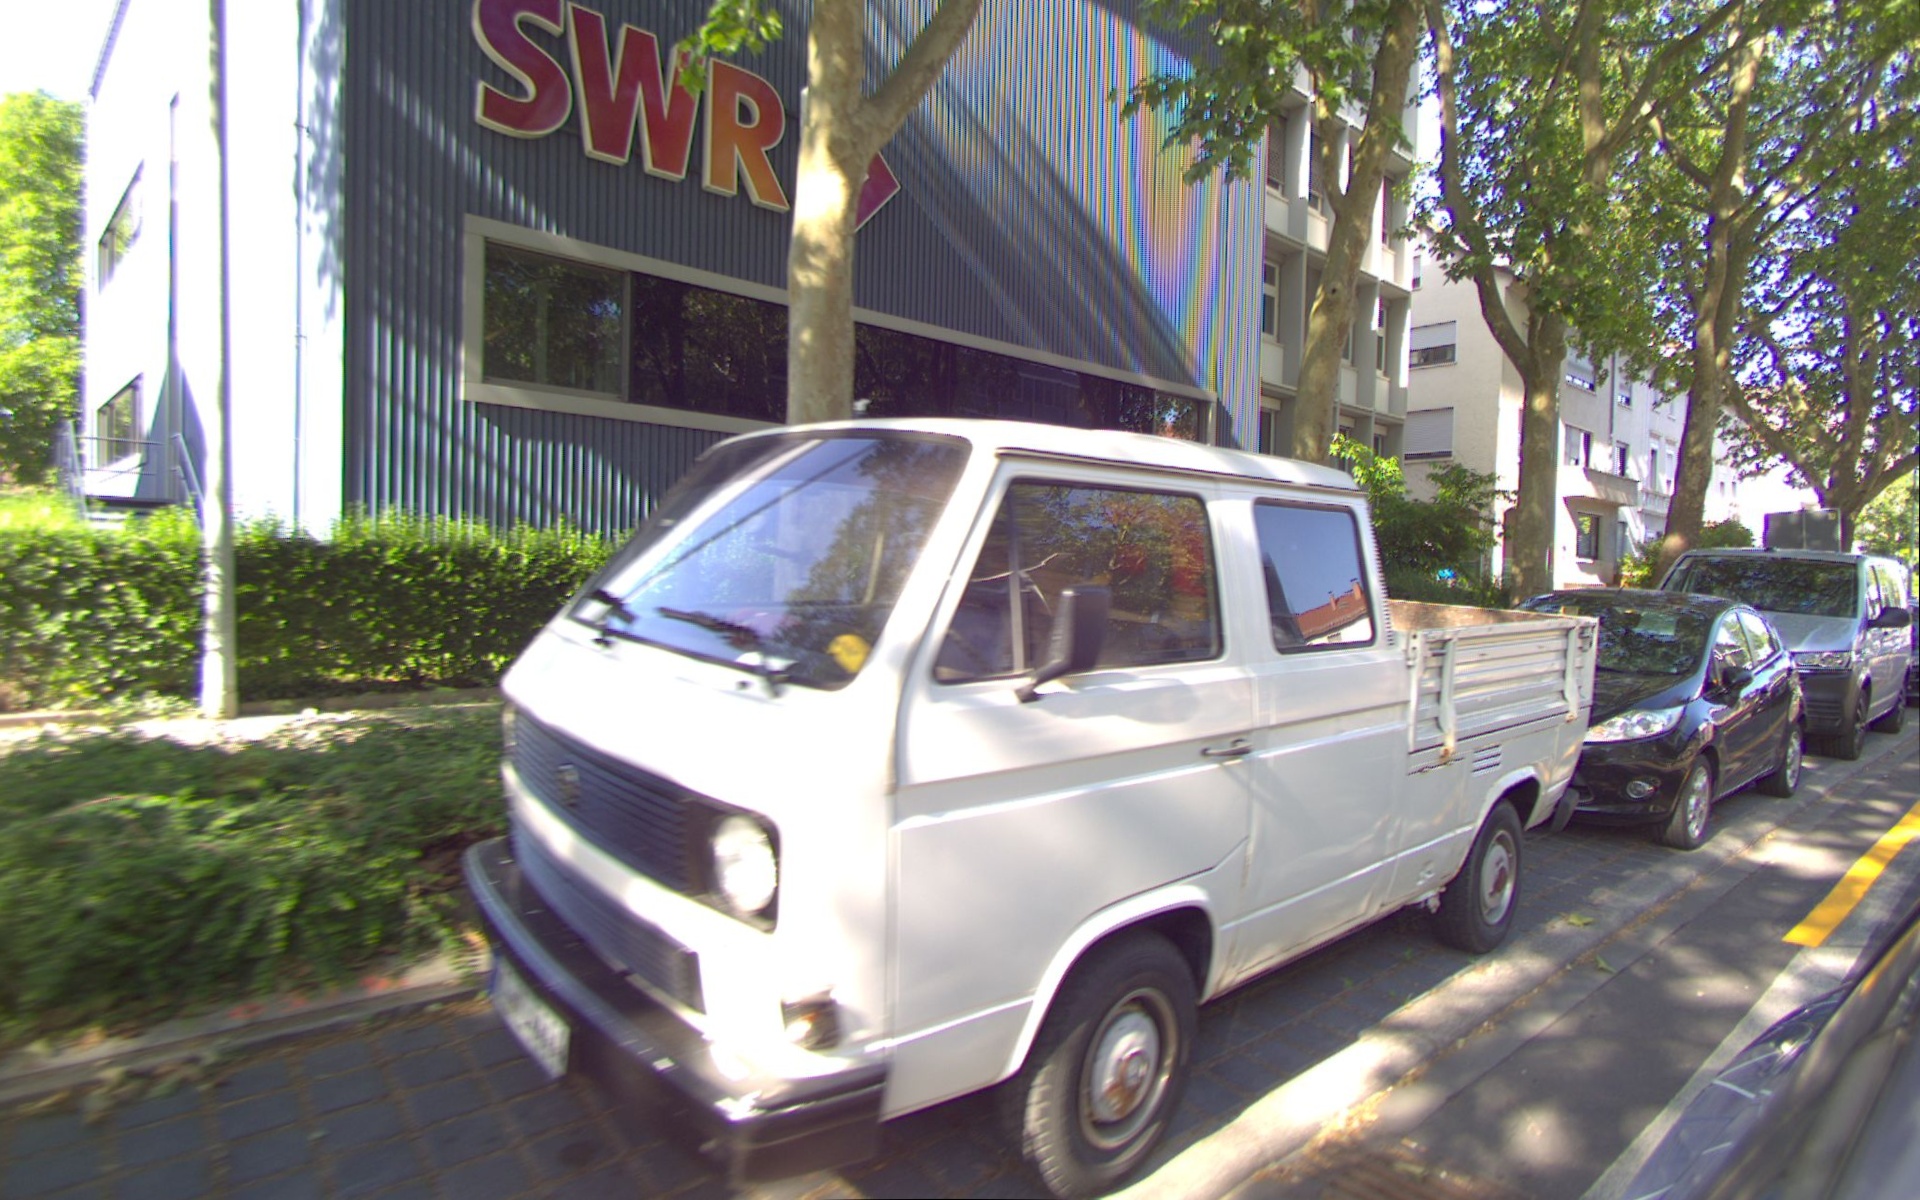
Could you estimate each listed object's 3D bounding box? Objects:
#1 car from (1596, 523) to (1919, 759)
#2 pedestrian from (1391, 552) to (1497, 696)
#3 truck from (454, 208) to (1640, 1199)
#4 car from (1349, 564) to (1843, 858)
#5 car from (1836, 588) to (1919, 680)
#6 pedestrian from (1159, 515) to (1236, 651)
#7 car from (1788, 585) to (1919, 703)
[{"bbox_3d":[8.896,0.298,10.939,5.182,1.970,2.029,0,2,-42],"label":"car"},{"bbox_3d":[5.821,0.257,12.148,1.246,1.622,0.728,0,1,-44],"label":"pedestrian"},{"bbox_3d":[0.728,0.268,3.786,4.376,1.904,1.881,-1,3,-41],"label":"truck"},{"bbox_3d":[4.664,0.543,7.196,4.027,1.495,1.752,0,2,-39],"label":"car"},{"bbox_3d":[17.548,0.563,18.475,4.177,1.527,1.767,0,1,-41],"label":"car"},{"bbox_3d":[3.037,-0.199,12.935,0.663,1.671,0.706,4,-4,-43],"label":"pedestrian"},{"bbox_3d":[13.915,0.570,15.177,4.056,1.559,1.660,0,1,-41],"label":"car"}]
